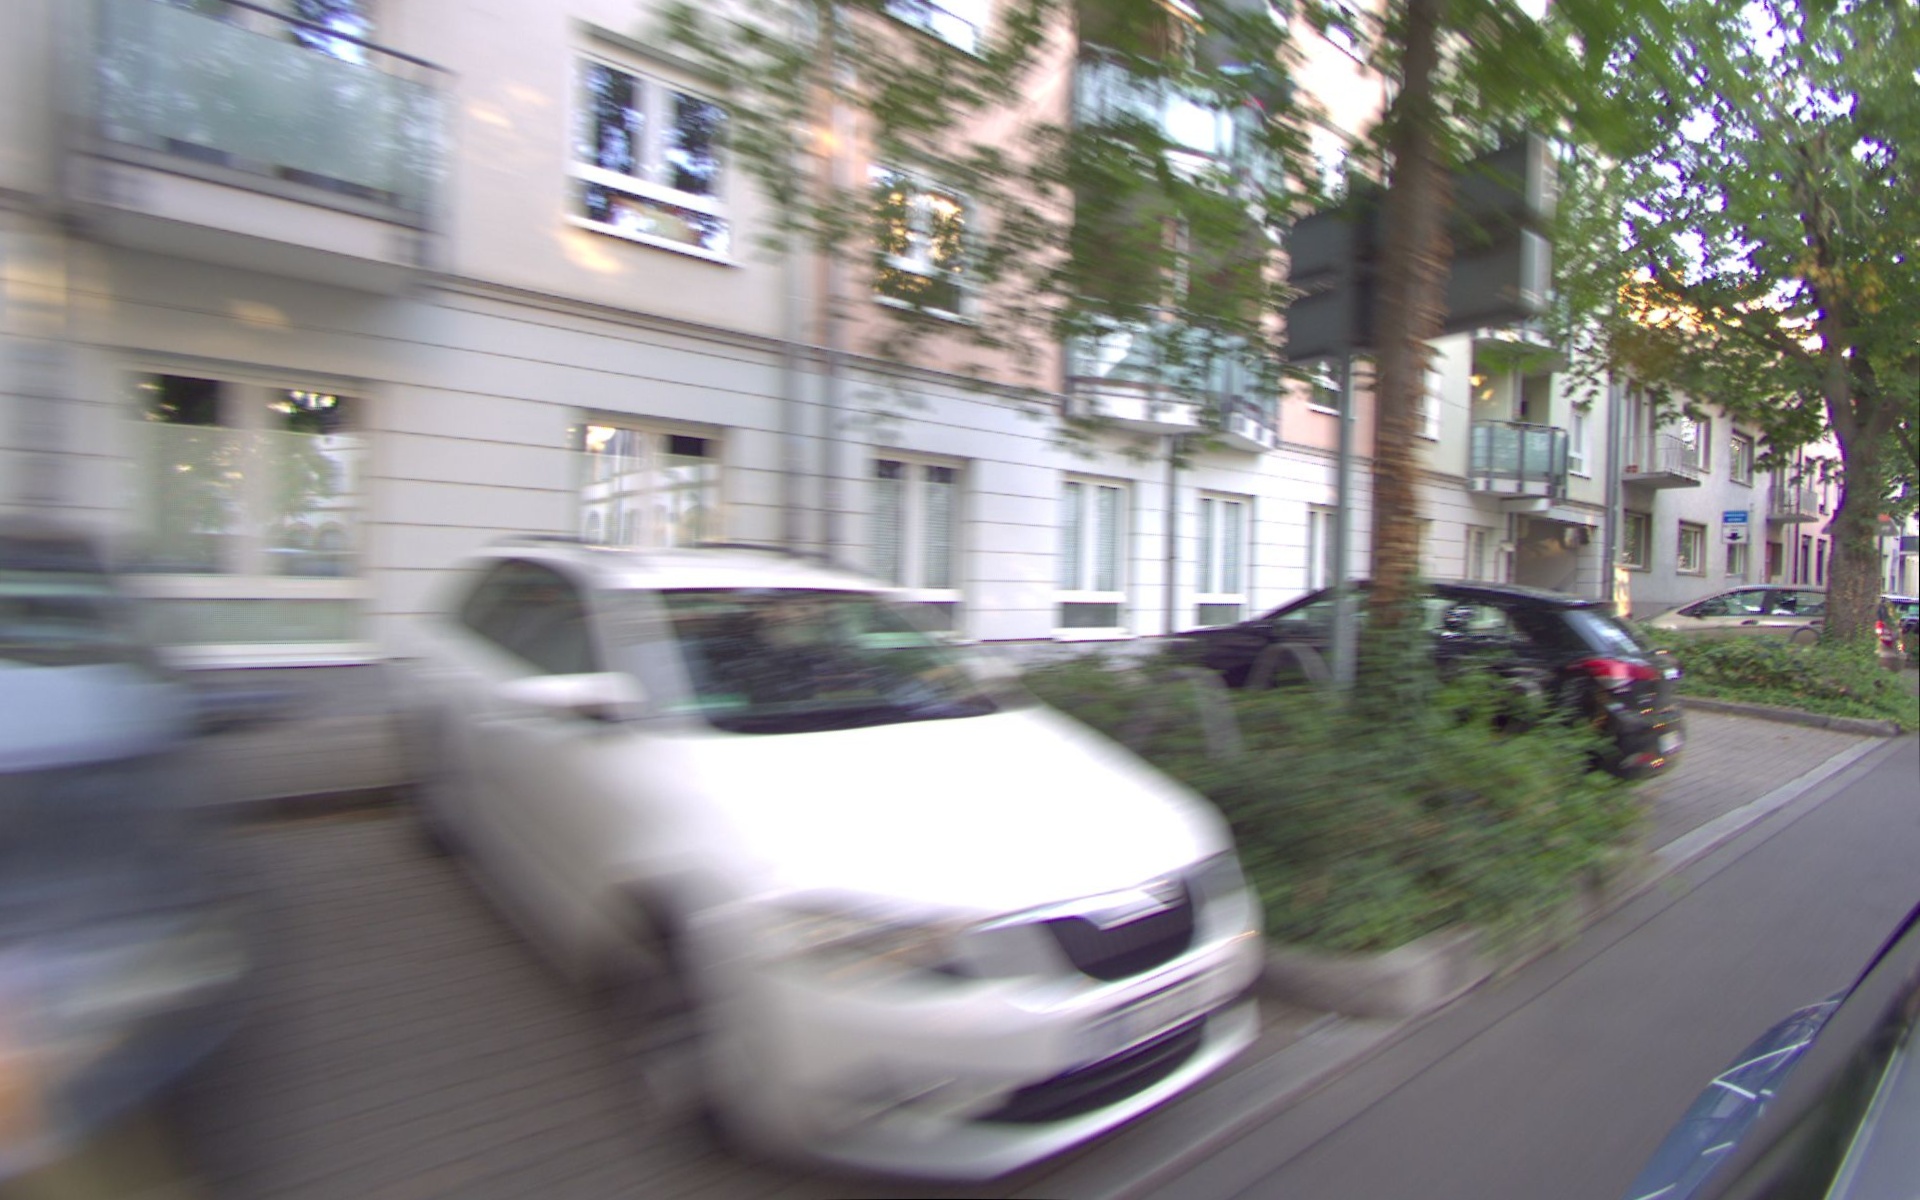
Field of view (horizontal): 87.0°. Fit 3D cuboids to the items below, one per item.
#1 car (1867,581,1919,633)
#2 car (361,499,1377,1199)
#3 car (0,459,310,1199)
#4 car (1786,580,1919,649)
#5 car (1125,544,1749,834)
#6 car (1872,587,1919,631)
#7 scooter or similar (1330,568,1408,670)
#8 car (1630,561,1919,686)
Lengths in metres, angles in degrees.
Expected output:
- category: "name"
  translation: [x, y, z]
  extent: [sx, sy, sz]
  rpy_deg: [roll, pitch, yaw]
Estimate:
- category: "car"
  translation: [30.794, 0.277, 30.827]
  extent: [1.916, 1.542, 4.458]
  rpy_deg: [0, 2, -39]
- category: "car"
  translation: [-0.974, 0.443, 4.106]
  extent: [1.741, 1.570, 4.584]
  rpy_deg: [0, 4, -40]
- category: "car"
  translation: [-2.969, 0.409, 2.711]
  extent: [1.695, 1.543, 4.000]
  rpy_deg: [0, 4, -38]
- category: "car"
  translation: [23.740, 0.406, 25.351]
  extent: [1.698, 1.487, 4.375]
  rpy_deg: [1, 4, -35]
- category: "car"
  translation: [3.519, 0.443, 8.003]
  extent: [1.882, 1.492, 3.993]
  rpy_deg: [0, 5, -44]
- category: "car"
  translation: [35.078, 0.423, 35.296]
  extent: [1.665, 1.488, 4.597]
  rpy_deg: [0, 3, -38]
- category: "scooter or similar"
  translation: [5.279, 0.235, 13.046]
  extent: [1.231, 1.256, 0.400]
  rpy_deg: [0, 1, -41]
- category: "car"
  translation: [13.922, 0.305, 17.109]
  extent: [1.892, 1.687, 3.872]
  rpy_deg: [0, 4, -40]
